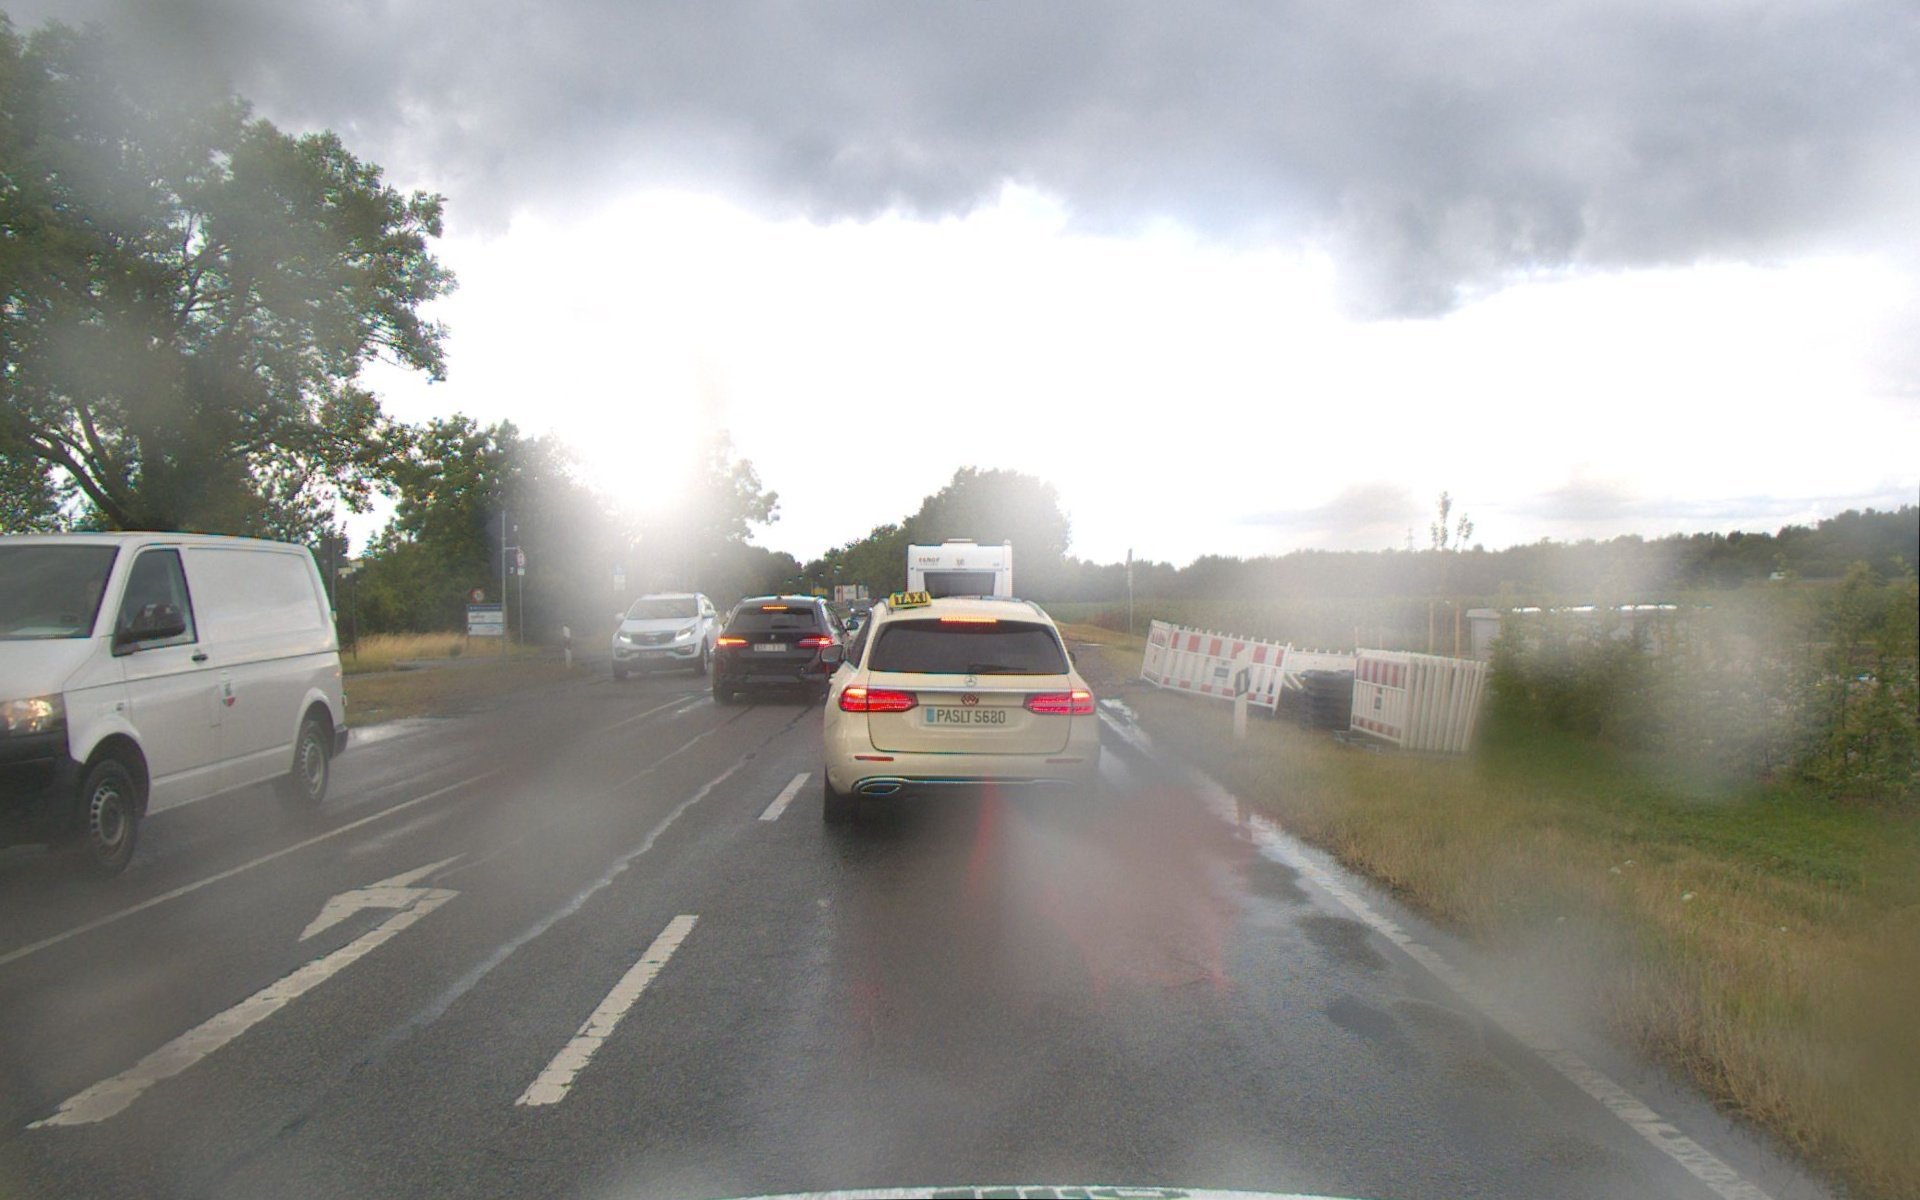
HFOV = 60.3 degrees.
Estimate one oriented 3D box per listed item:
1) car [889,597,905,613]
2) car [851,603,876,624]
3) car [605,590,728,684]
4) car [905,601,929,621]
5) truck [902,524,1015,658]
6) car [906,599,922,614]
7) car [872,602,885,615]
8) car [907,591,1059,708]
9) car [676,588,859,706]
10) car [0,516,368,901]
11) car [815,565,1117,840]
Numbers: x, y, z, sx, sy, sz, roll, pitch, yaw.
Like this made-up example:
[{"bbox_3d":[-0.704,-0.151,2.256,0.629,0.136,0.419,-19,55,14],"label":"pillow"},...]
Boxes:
[{"bbox_3d":[-7.922,0.669,207.717,1.858,1.928,3.840,-1,0,-4],"label":"car"},{"bbox_3d":[-7.234,0.988,123.760,1.685,1.429,4.042,-3,0,-2],"label":"car"},{"bbox_3d":[-5.887,0.695,33.576,1.669,1.700,4.155,-3,0,0],"label":"car"},{"bbox_3d":[-4.033,1.009,154.690,1.955,1.803,3.996,-1,0,-5],"label":"car"},{"bbox_3d":[-0.096,-0.200,38.489,2.315,2.776,7.312,-1,0,-1],"label":"truck"},{"bbox_3d":[-5.055,0.695,182.426,1.648,1.578,3.752,1,0,-1],"label":"car"},{"bbox_3d":[-12.641,1.318,256.598,1.857,1.872,3.881,-1,0,-1],"label":"car"},{"bbox_3d":[0.268,0.647,23.477,1.953,1.488,3.999,1,0,-1],"label":"car"},{"bbox_3d":[-2.768,0.645,24.851,2.255,1.574,4.631,1,0,-1],"label":"car"},{"bbox_3d":[-5.529,0.585,10.495,1.878,1.894,4.683,-3,0,-1],"label":"car"},{"bbox_3d":[0.006,0.619,11.921,1.805,1.646,3.999,0,0,-1],"label":"car"}]
